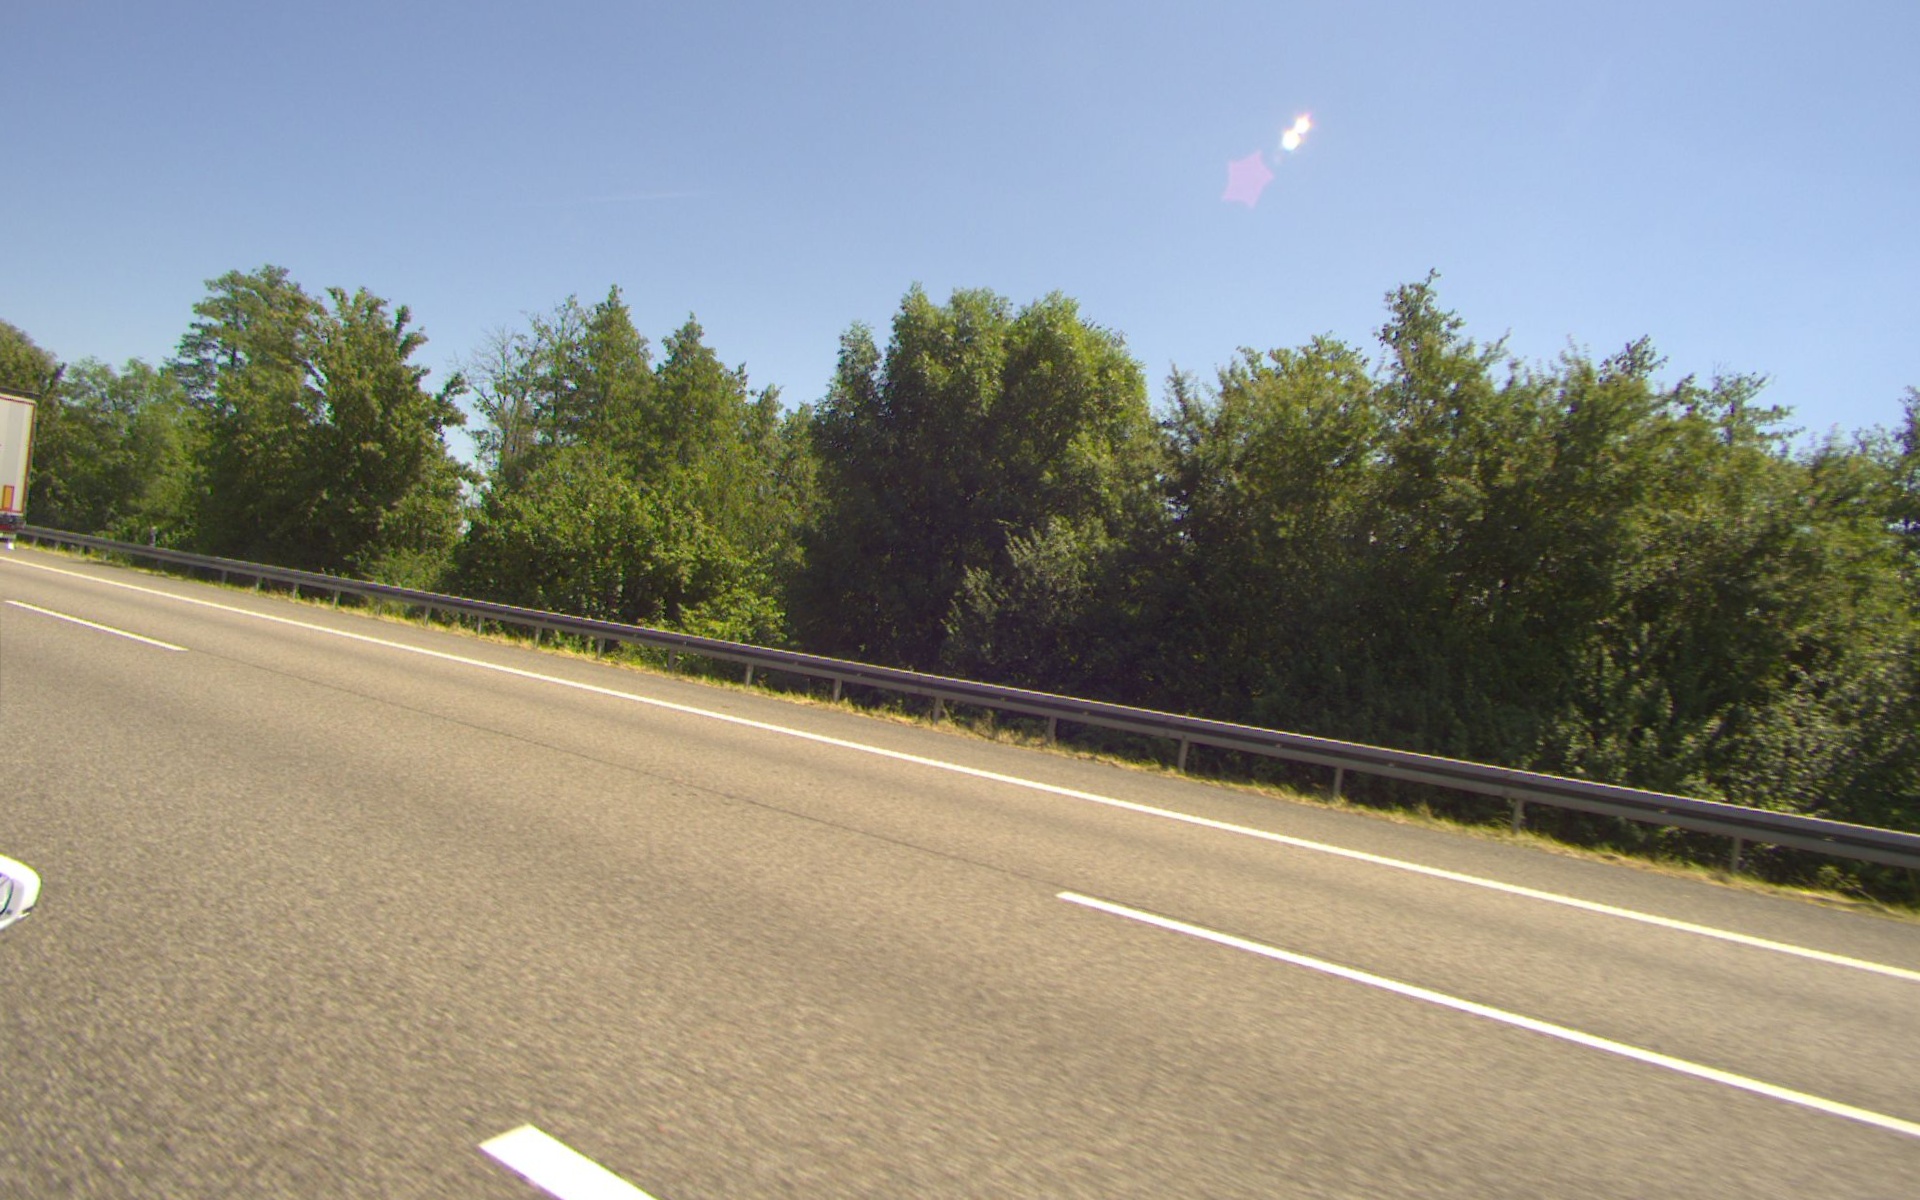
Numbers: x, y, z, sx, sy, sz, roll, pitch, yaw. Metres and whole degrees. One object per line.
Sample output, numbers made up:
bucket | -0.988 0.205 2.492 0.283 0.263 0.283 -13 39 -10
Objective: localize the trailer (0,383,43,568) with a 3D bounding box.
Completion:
trailer | -29.061 -3.697 26.909 13.827 4.311 2.629 6 -1 32
